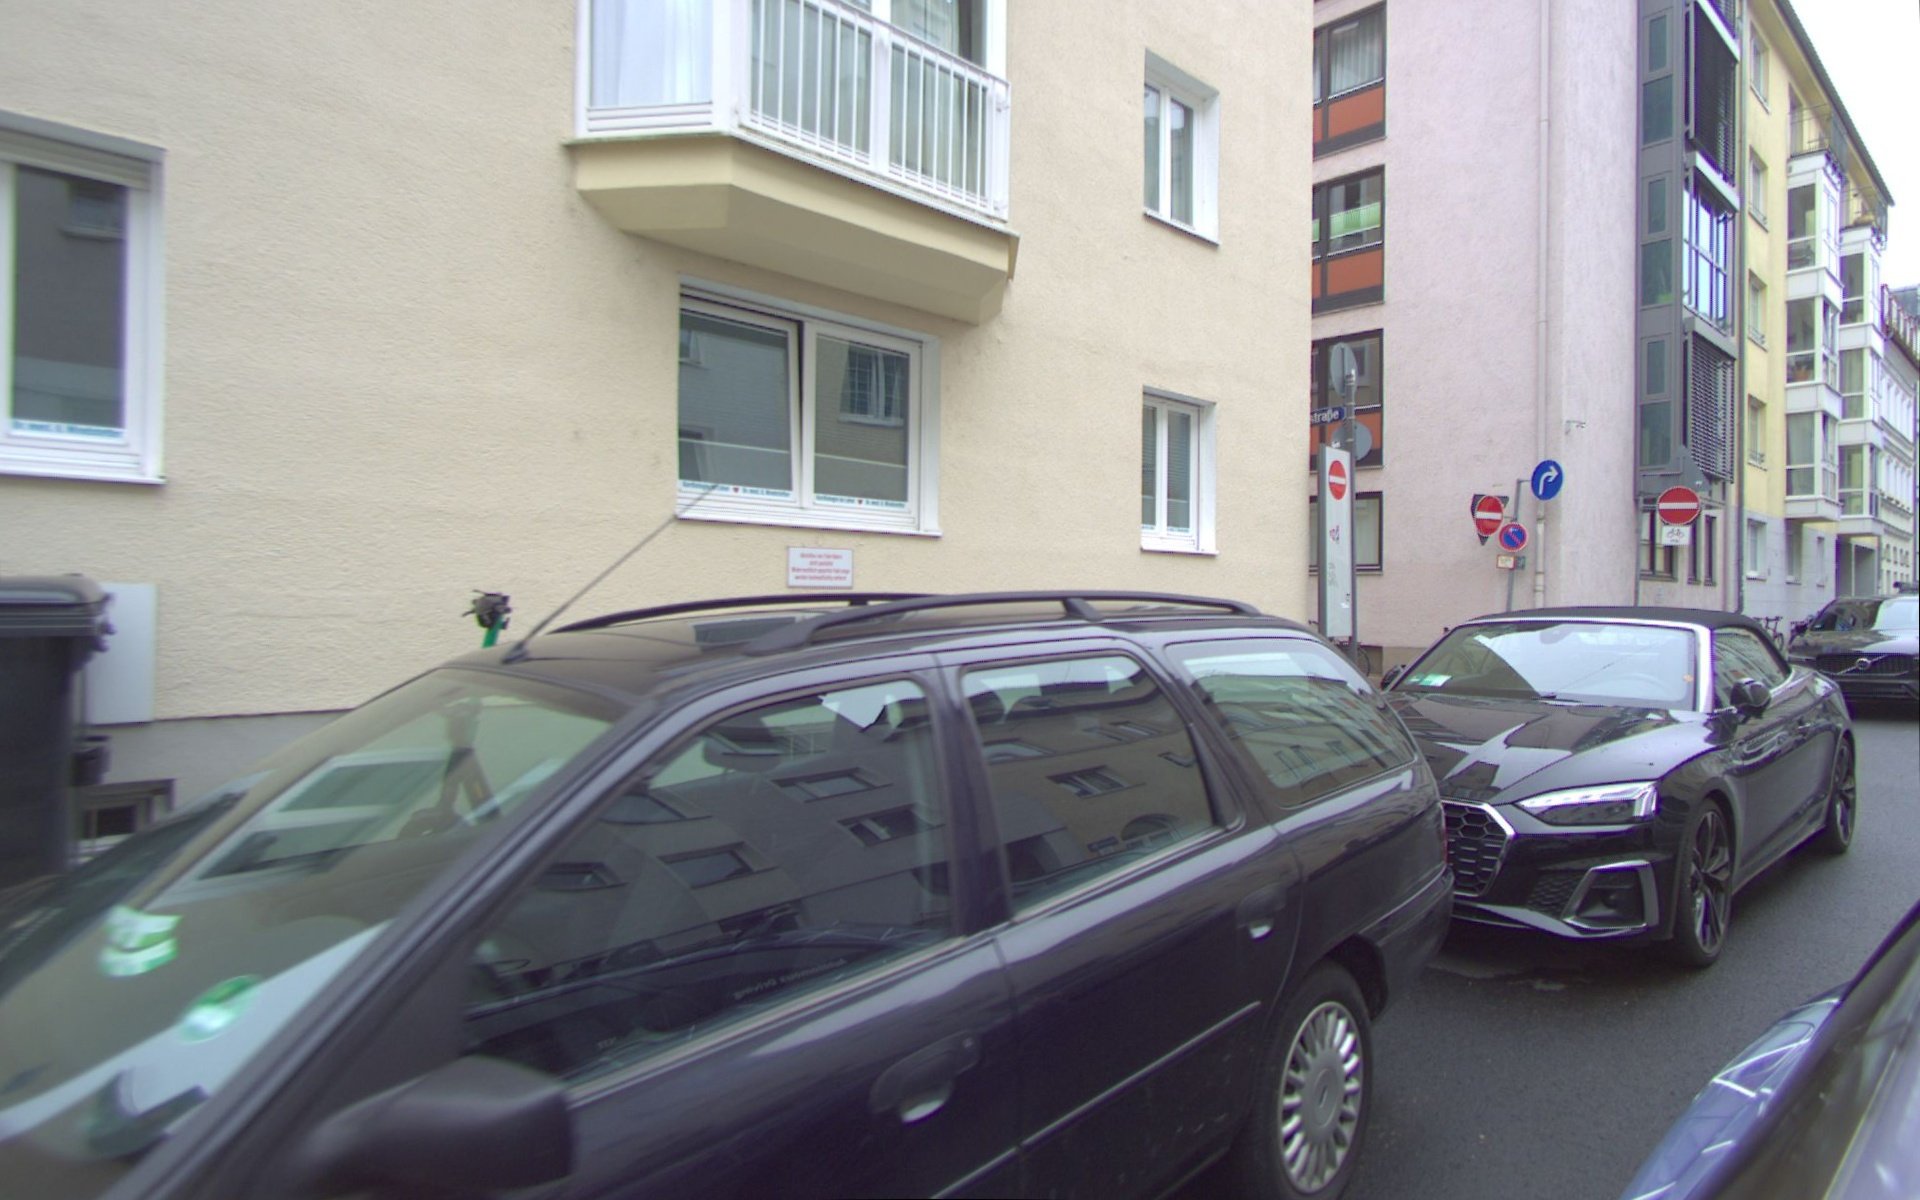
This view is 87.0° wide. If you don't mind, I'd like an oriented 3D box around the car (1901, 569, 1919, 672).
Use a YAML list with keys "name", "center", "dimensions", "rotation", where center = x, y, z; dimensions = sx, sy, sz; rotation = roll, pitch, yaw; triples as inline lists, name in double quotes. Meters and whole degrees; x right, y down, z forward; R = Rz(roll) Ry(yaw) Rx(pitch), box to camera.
- name: "car"
  center: [21.348, 0.361, 21.209]
  dimensions: [5.019, 2.039, 1.875]
  rotation: [-1, -1, -42]

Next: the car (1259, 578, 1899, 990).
- name: "car"
  center: [3.682, 0.634, 5.642]
  dimensions: [4.335, 1.424, 1.835]
  rotation: [-1, -1, -41]

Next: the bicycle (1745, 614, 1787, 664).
- name: "bicycle"
  center: [16.634, 0.784, 20.879]
  dimensions: [1.420, 0.988, 0.422]
  rotation: [1, -1, -40]

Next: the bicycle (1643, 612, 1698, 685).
- name: "bicycle"
  center: [11.611, 0.772, 16.525]
  dimensions: [1.515, 1.136, 0.357]
  rotation: [1, -1, -40]

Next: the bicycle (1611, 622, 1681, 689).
- name: "bicycle"
  center: [10.532, 0.836, 15.520]
  dimensions: [1.333, 0.959, 0.551]
  rotation: [1, -1, -40]

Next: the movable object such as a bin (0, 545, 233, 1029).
- name: "movable object such as a bin"
  center: [-3.344, 0.541, 3.256]
  dimensions: [1.559, 1.440, 1.034]
  rotation: [0, 2, -41]

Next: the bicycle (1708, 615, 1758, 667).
- name: "bicycle"
  center: [15.074, 0.783, 19.725]
  dimensions: [1.548, 0.959, 0.442]
  rotation: [1, -1, -40]

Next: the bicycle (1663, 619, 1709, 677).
- name: "bicycle"
  center: [12.673, 0.827, 17.666]
  dimensions: [1.247, 0.959, 0.357]
  rotation: [1, -1, -40]

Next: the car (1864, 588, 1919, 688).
- name: "car"
  center: [17.448, 0.604, 17.788]
  dimensions: [4.249, 1.642, 1.835]
  rotation: [0, -1, -42]

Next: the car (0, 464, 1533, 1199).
- name: "car"
  center: [-0.474, 0.650, 2.163]
  dimensions: [4.456, 1.490, 1.718]
  rotation: [0, -1, -44]

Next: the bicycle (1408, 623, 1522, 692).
- name: "bicycle"
  center: [7.622, 0.848, 15.309]
  dimensions: [0.543, 0.959, 1.448]
  rotation: [1, -1, -44]

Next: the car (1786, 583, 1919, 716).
- name: "car"
  center: [13.210, 0.597, 14.183]
  dimensions: [4.335, 1.642, 1.835]
  rotation: [0, -1, -41]

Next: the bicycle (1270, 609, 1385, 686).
- name: "bicycle"
  center: [6.046, 0.754, 16.724]
  dimensions: [0.543, 1.194, 1.732]
  rotation: [1, -1, -44]

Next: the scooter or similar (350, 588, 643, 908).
- name: "scooter or similar"
  center: [-2.124, 0.595, 4.682]
  dimensions: [1.116, 1.282, 0.577]
  rotation: [0, 2, -41]
